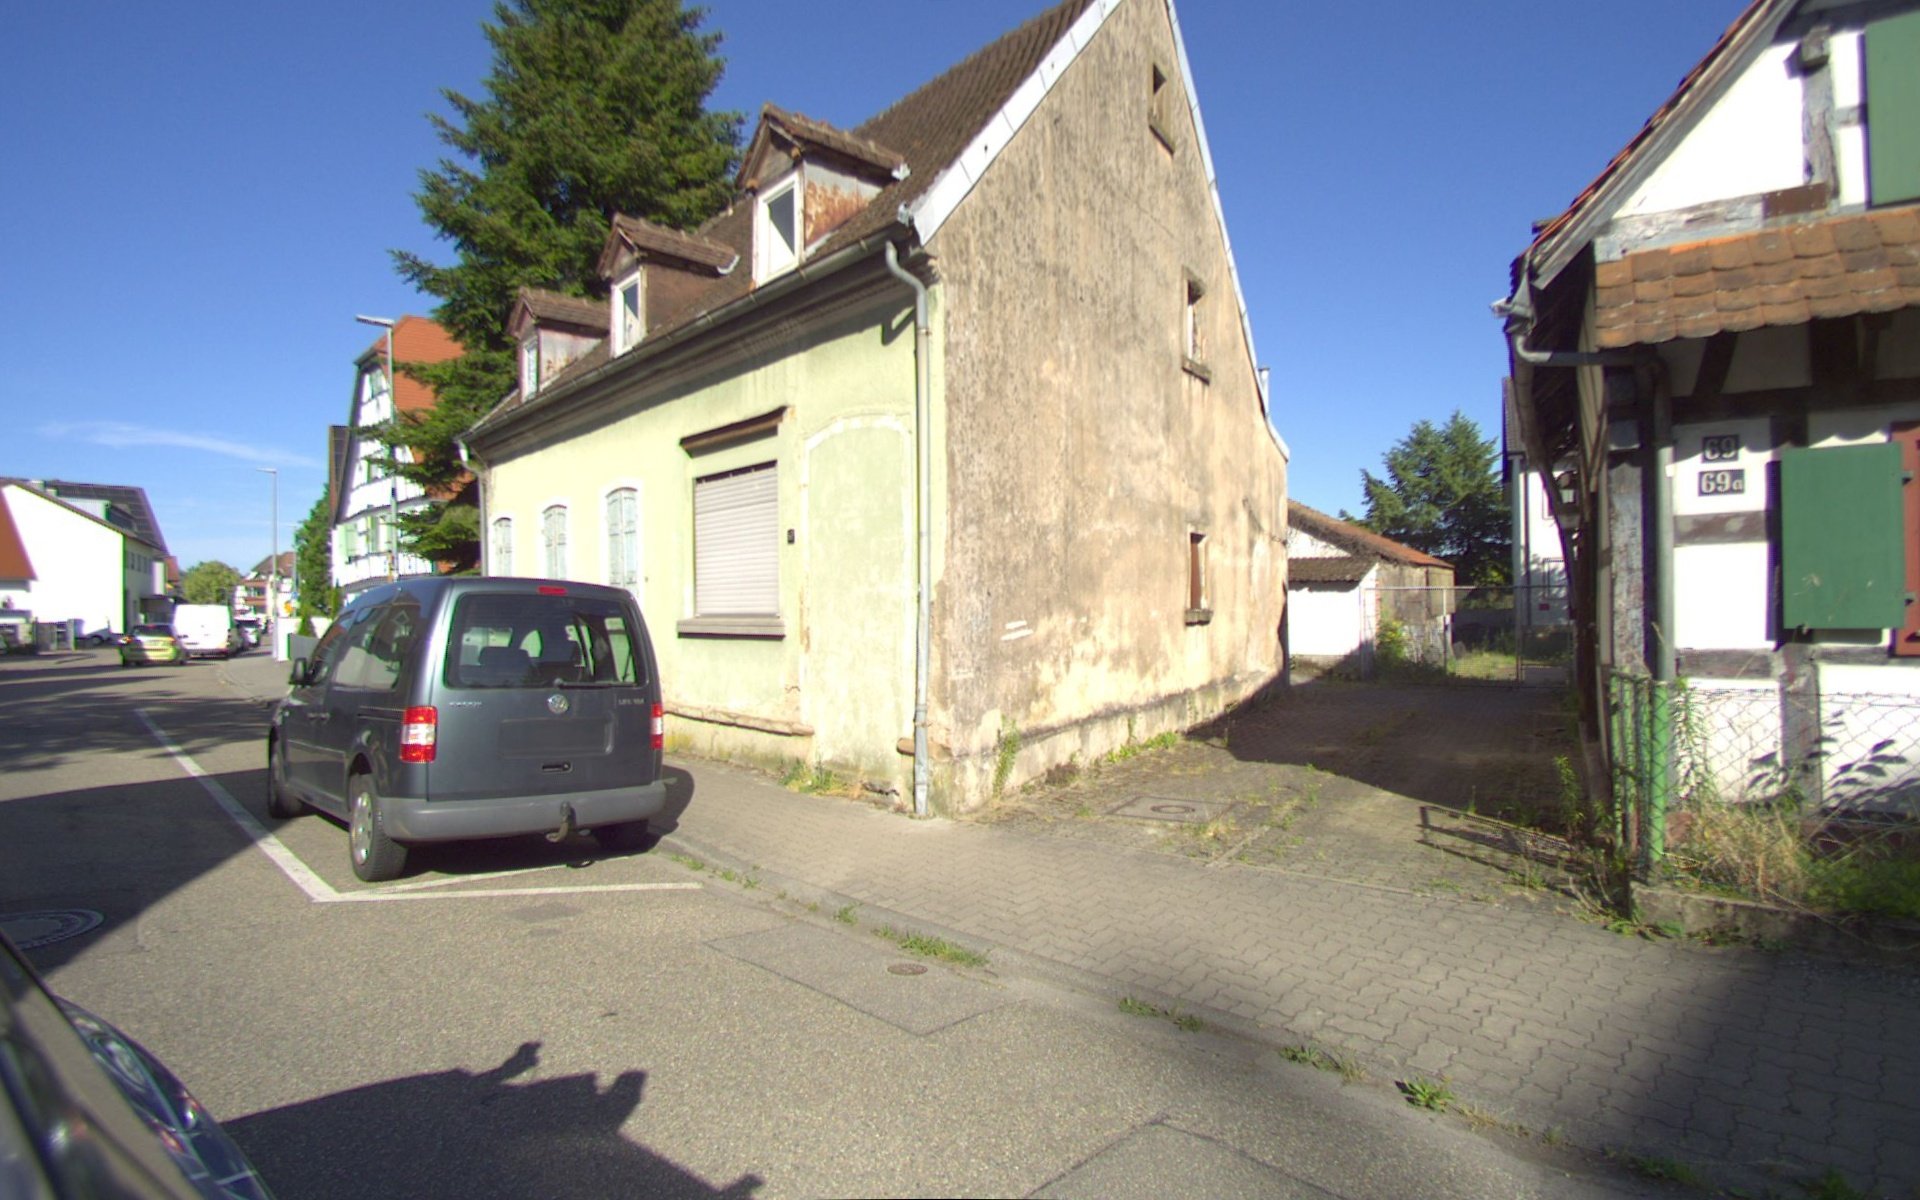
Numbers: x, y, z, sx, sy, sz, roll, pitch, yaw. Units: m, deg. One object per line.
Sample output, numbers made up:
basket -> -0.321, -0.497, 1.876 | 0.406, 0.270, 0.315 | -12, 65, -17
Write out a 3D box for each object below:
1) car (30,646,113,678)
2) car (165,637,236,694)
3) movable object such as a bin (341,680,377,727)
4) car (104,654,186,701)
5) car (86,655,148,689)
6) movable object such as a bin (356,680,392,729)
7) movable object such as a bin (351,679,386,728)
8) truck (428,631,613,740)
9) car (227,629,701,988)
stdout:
car -> -58.109, 4.035, 66.283 | 3.936, 2.029, 1.845 | 2, -4, -39
car -> -32.301, 2.774, 43.162 | 2.027, 2.263, 4.872 | 2, -4, -33
movable object such as a bin -> -12.733, 2.186, 21.453 | 0.520, 0.954, 0.518 | -4, -3, 42
car -> -29.413, 2.751, 36.652 | 1.863, 1.603, 4.011 | 2, -4, -33
car -> -43.146, 3.647, 51.858 | 1.778, 1.489, 4.356 | -2, -1, -31
movable object such as a bin -> -12.037, 2.130, 20.790 | 0.430, 0.954, 0.518 | -4, -3, 42
movable object such as a bin -> -12.347, 2.151, 21.110 | 0.430, 0.954, 0.518 | -4, -3, 42
truck -> -8.887, 1.640, 20.218 | 1.969, 1.863, 4.757 | 0, -3, -42
car -> -3.811, 1.211, 7.359 | 1.810, 1.803, 4.356 | 5, -6, -43
